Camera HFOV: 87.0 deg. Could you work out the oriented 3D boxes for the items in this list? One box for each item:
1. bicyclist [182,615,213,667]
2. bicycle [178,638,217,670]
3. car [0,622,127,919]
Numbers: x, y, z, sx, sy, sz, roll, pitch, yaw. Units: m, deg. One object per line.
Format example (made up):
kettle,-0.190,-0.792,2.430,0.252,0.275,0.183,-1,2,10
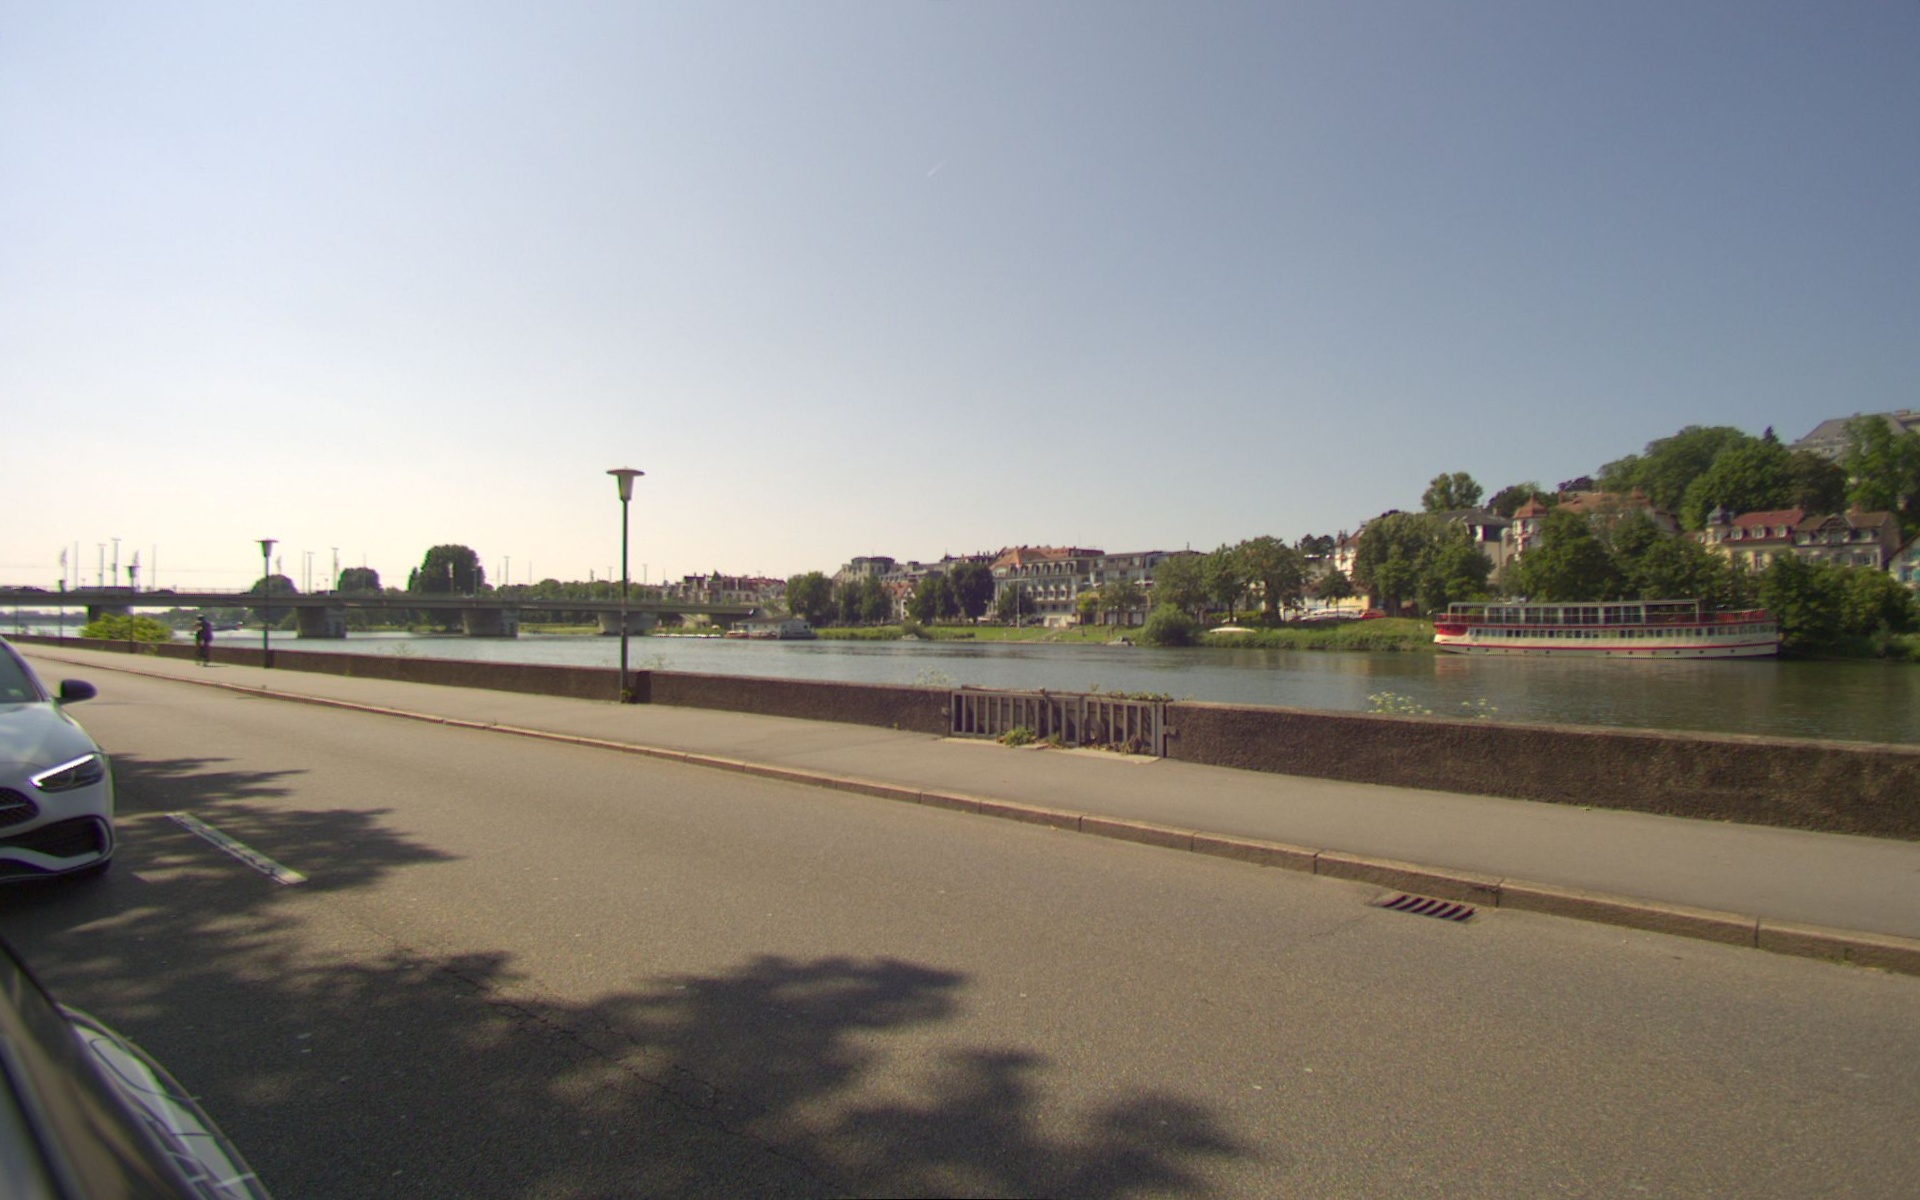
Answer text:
bicyclist,-25.218,1.362,33.467,0.870,1.686,0.631,-2,-2,41
bicycle,-25.227,1.778,33.465,1.984,1.019,0.626,-1,-2,41
car,-6.613,0.875,6.102,4.551,1.430,1.806,-2,-1,42
